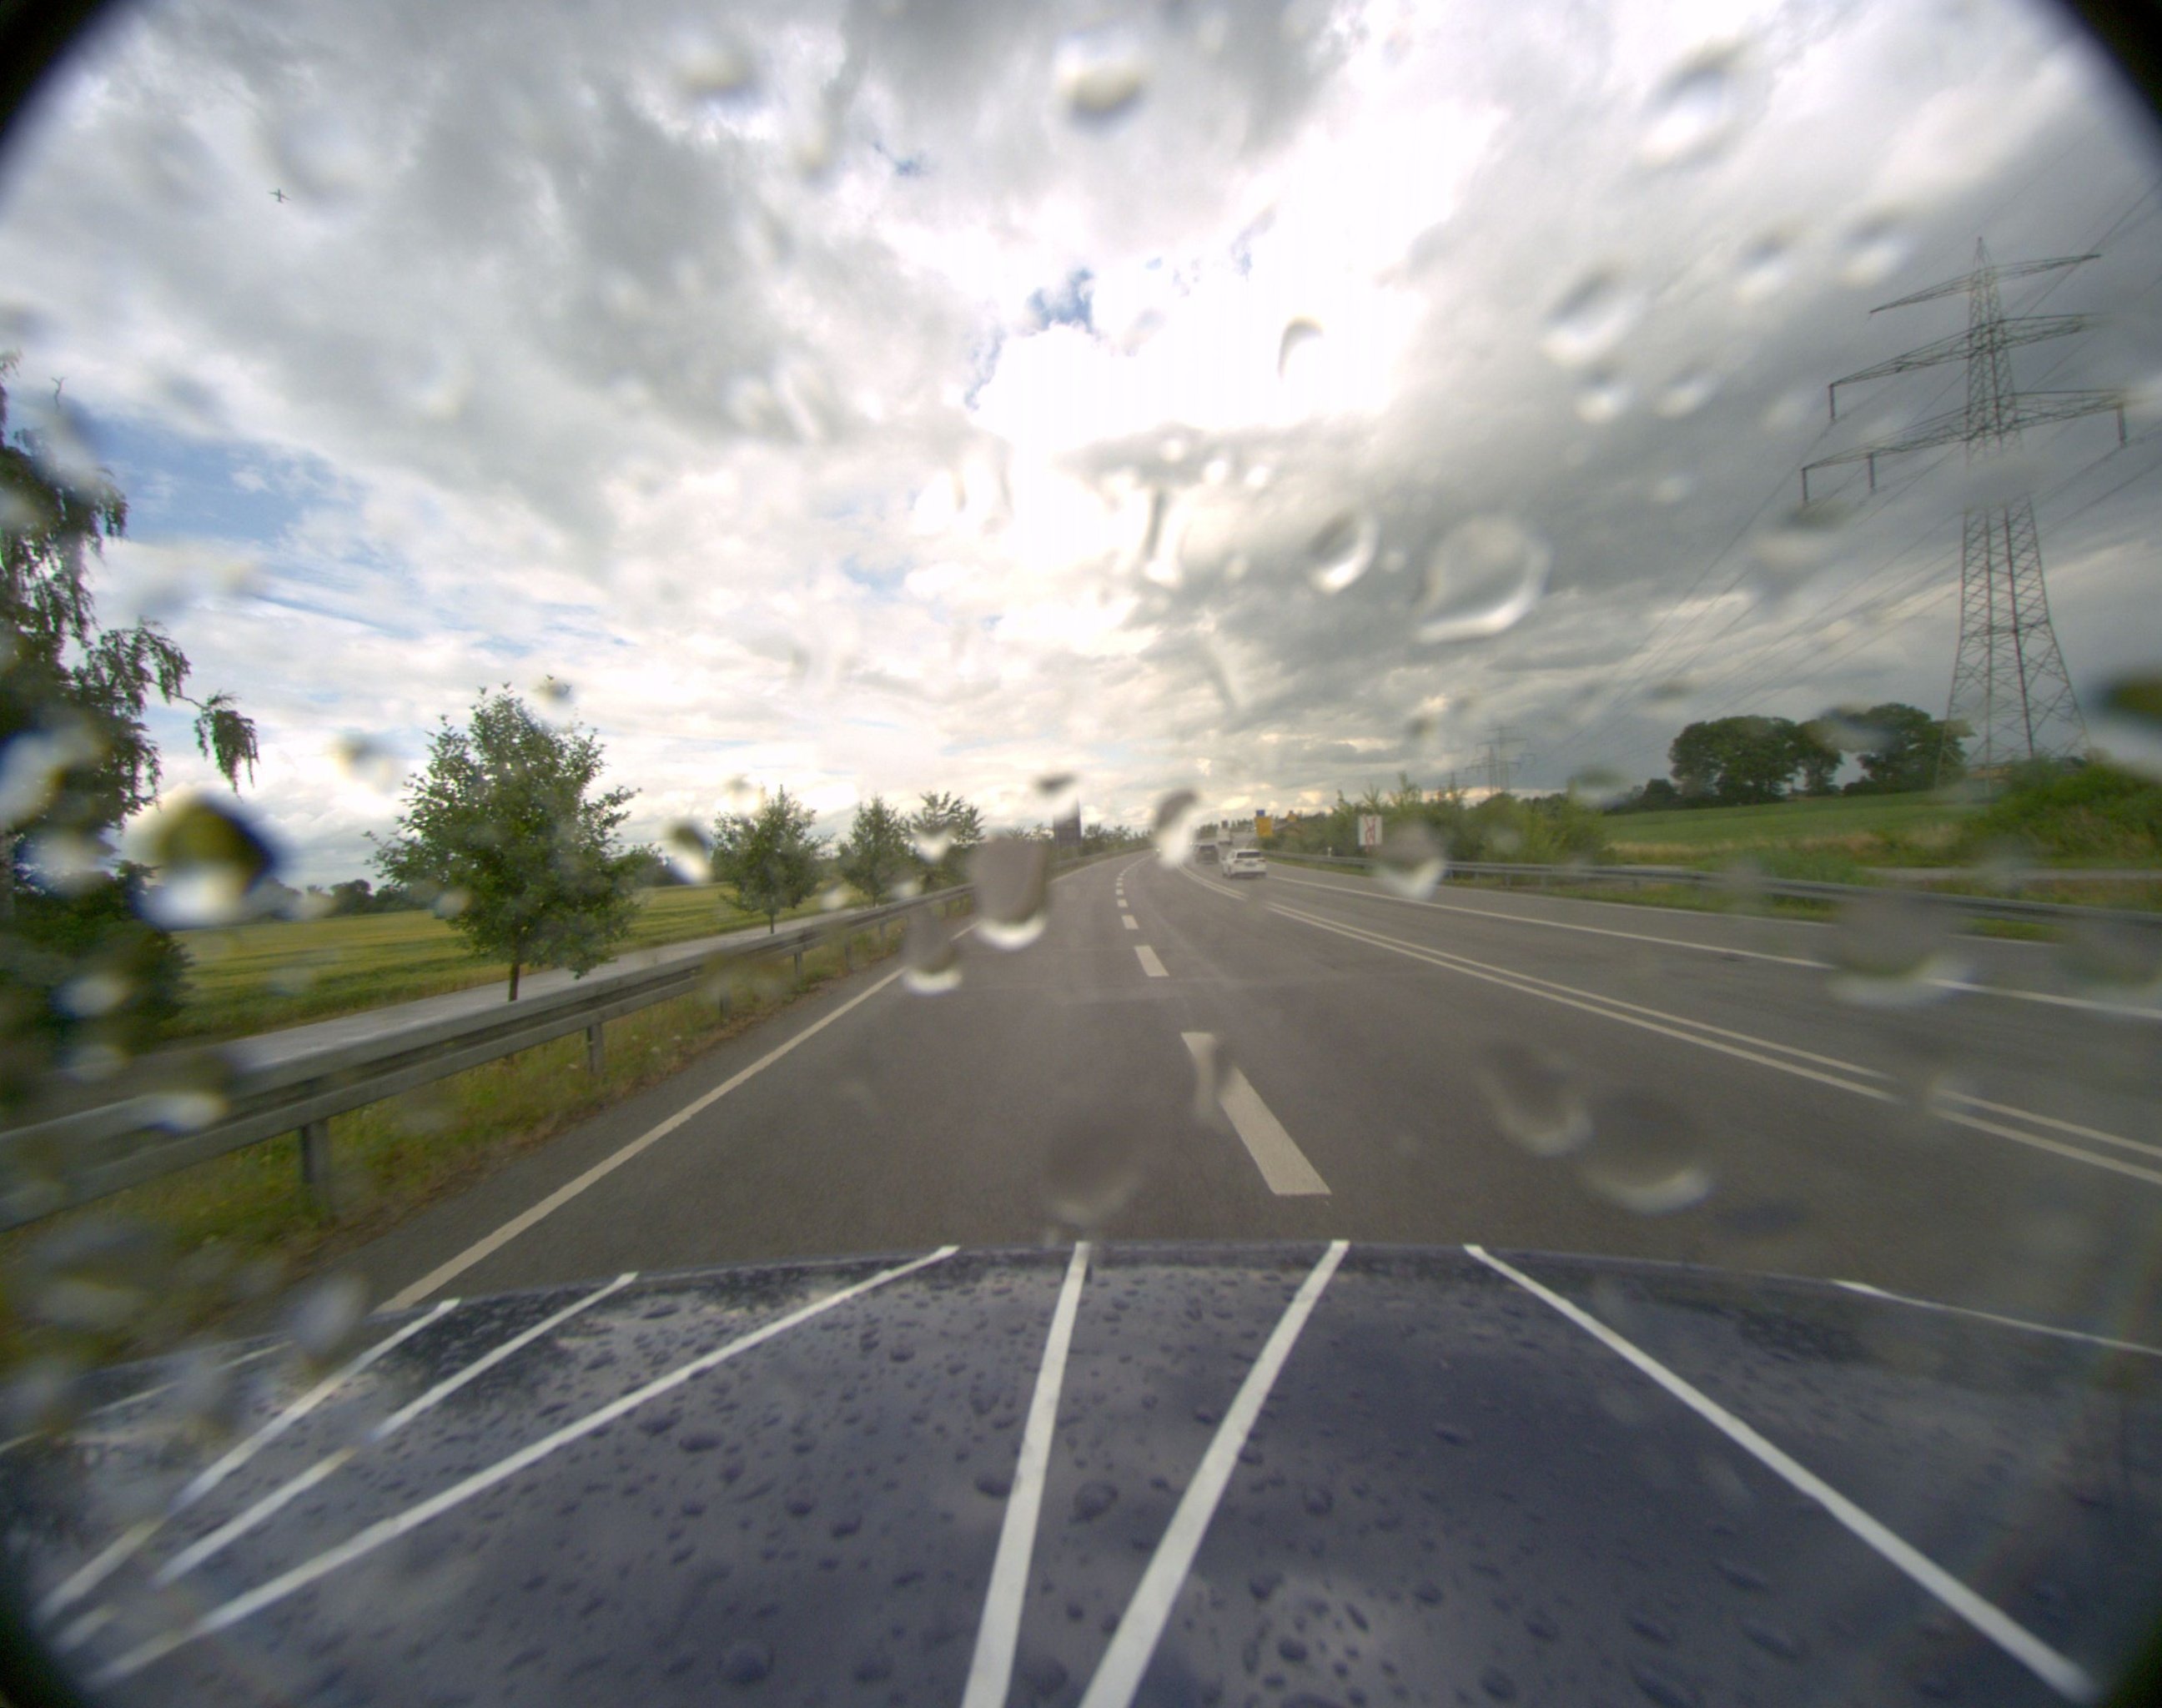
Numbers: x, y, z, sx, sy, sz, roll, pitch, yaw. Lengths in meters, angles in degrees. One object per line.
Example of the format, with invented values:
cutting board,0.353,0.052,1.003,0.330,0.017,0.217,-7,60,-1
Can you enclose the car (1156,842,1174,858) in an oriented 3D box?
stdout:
car,9.759,-0.515,88.291,1.794,1.758,4.003,-1,1,10

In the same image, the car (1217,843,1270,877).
car,8.107,0.238,38.239,1.709,1.471,4.609,-2,2,1

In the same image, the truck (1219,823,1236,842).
truck,25.000,-3.724,129.421,2.259,3.138,6.695,-1,2,15

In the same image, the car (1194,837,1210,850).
car,14.521,-1.236,91.030,1.682,1.449,4.078,-2,0,11

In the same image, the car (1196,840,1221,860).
car,10.765,-0.367,64.497,1.803,1.566,4.260,-1,2,6

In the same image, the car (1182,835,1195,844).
car,18.334,-2.446,129.310,1.747,1.488,4.054,-3,0,14
